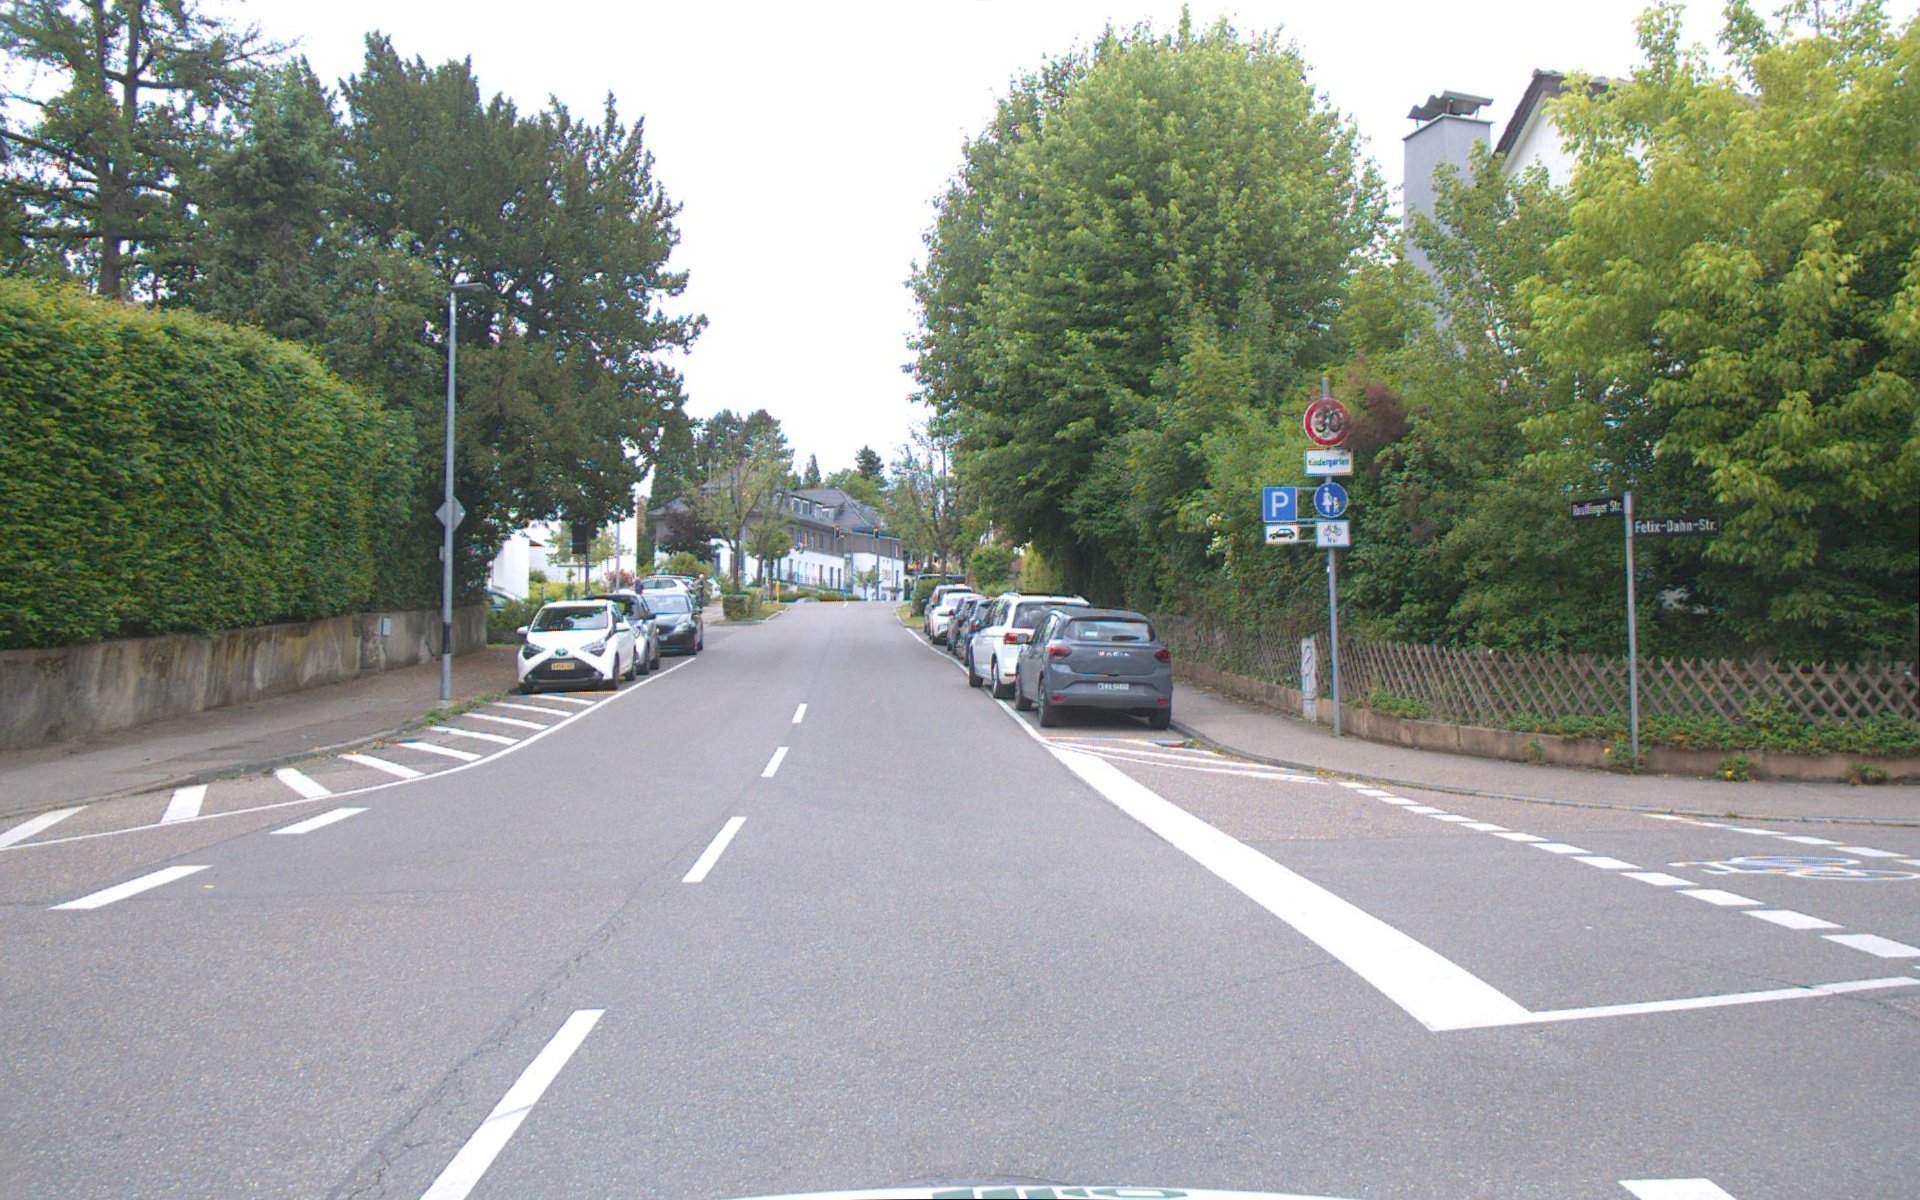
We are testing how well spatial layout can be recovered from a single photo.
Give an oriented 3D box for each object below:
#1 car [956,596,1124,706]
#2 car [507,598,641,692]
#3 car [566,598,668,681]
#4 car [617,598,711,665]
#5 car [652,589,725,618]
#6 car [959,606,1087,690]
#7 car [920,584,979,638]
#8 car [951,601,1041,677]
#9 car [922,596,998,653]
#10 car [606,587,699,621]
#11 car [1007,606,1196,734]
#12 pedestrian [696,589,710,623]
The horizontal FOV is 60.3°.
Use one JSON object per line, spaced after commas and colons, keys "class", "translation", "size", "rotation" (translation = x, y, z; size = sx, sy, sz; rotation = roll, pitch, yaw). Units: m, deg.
{"class": "car", "translation": [1.238, 0.780, 27.959], "size": [1.963, 1.637, 4.750], "rotation": [-1, 1, -8]}
{"class": "car", "translation": [-6.511, 0.720, 28.207], "size": [1.710, 1.473, 3.510], "rotation": [0, 0, -5]}
{"class": "car", "translation": [-6.667, 0.742, 32.389], "size": [1.592, 1.545, 2.972], "rotation": [0, 0, -5]}
{"class": "car", "translation": [-7.136, 0.721, 40.250], "size": [1.814, 1.495, 4.678], "rotation": [-1, 0, -5]}
{"class": "car", "translation": [-16.399, 0.240, 100.019], "size": [4.178, 1.652, 2.011], "rotation": [-1, -1, -7]}
{"class": "car", "translation": [1.163, 0.889, 32.633], "size": [1.776, 1.478, 4.371], "rotation": [-1, 0, -8]}
{"class": "car", "translation": [-0.378, 0.338, 54.354], "size": [1.683, 1.661, 3.926], "rotation": [2, 0, -4]}
{"class": "car", "translation": [0.768, 0.840, 37.589], "size": [1.664, 1.534, 4.157], "rotation": [2, 0, -3]}
{"class": "car", "translation": [-0.060, 0.679, 48.329], "size": [1.954, 1.517, 5.002], "rotation": [-1, 1, -3]}
{"class": "car", "translation": [-15.069, 0.197, 81.239], "size": [4.301, 1.594, 2.064], "rotation": [-1, 0, -5]}
{"class": "car", "translation": [1.853, 0.892, 23.049], "size": [1.899, 1.517, 4.452], "rotation": [-1, 1, -5]}
{"class": "pedestrian", "translation": [-12.471, 0.289, 80.221], "size": [0.581, 1.669, 0.565], "rotation": [-1, 0, -3]}
